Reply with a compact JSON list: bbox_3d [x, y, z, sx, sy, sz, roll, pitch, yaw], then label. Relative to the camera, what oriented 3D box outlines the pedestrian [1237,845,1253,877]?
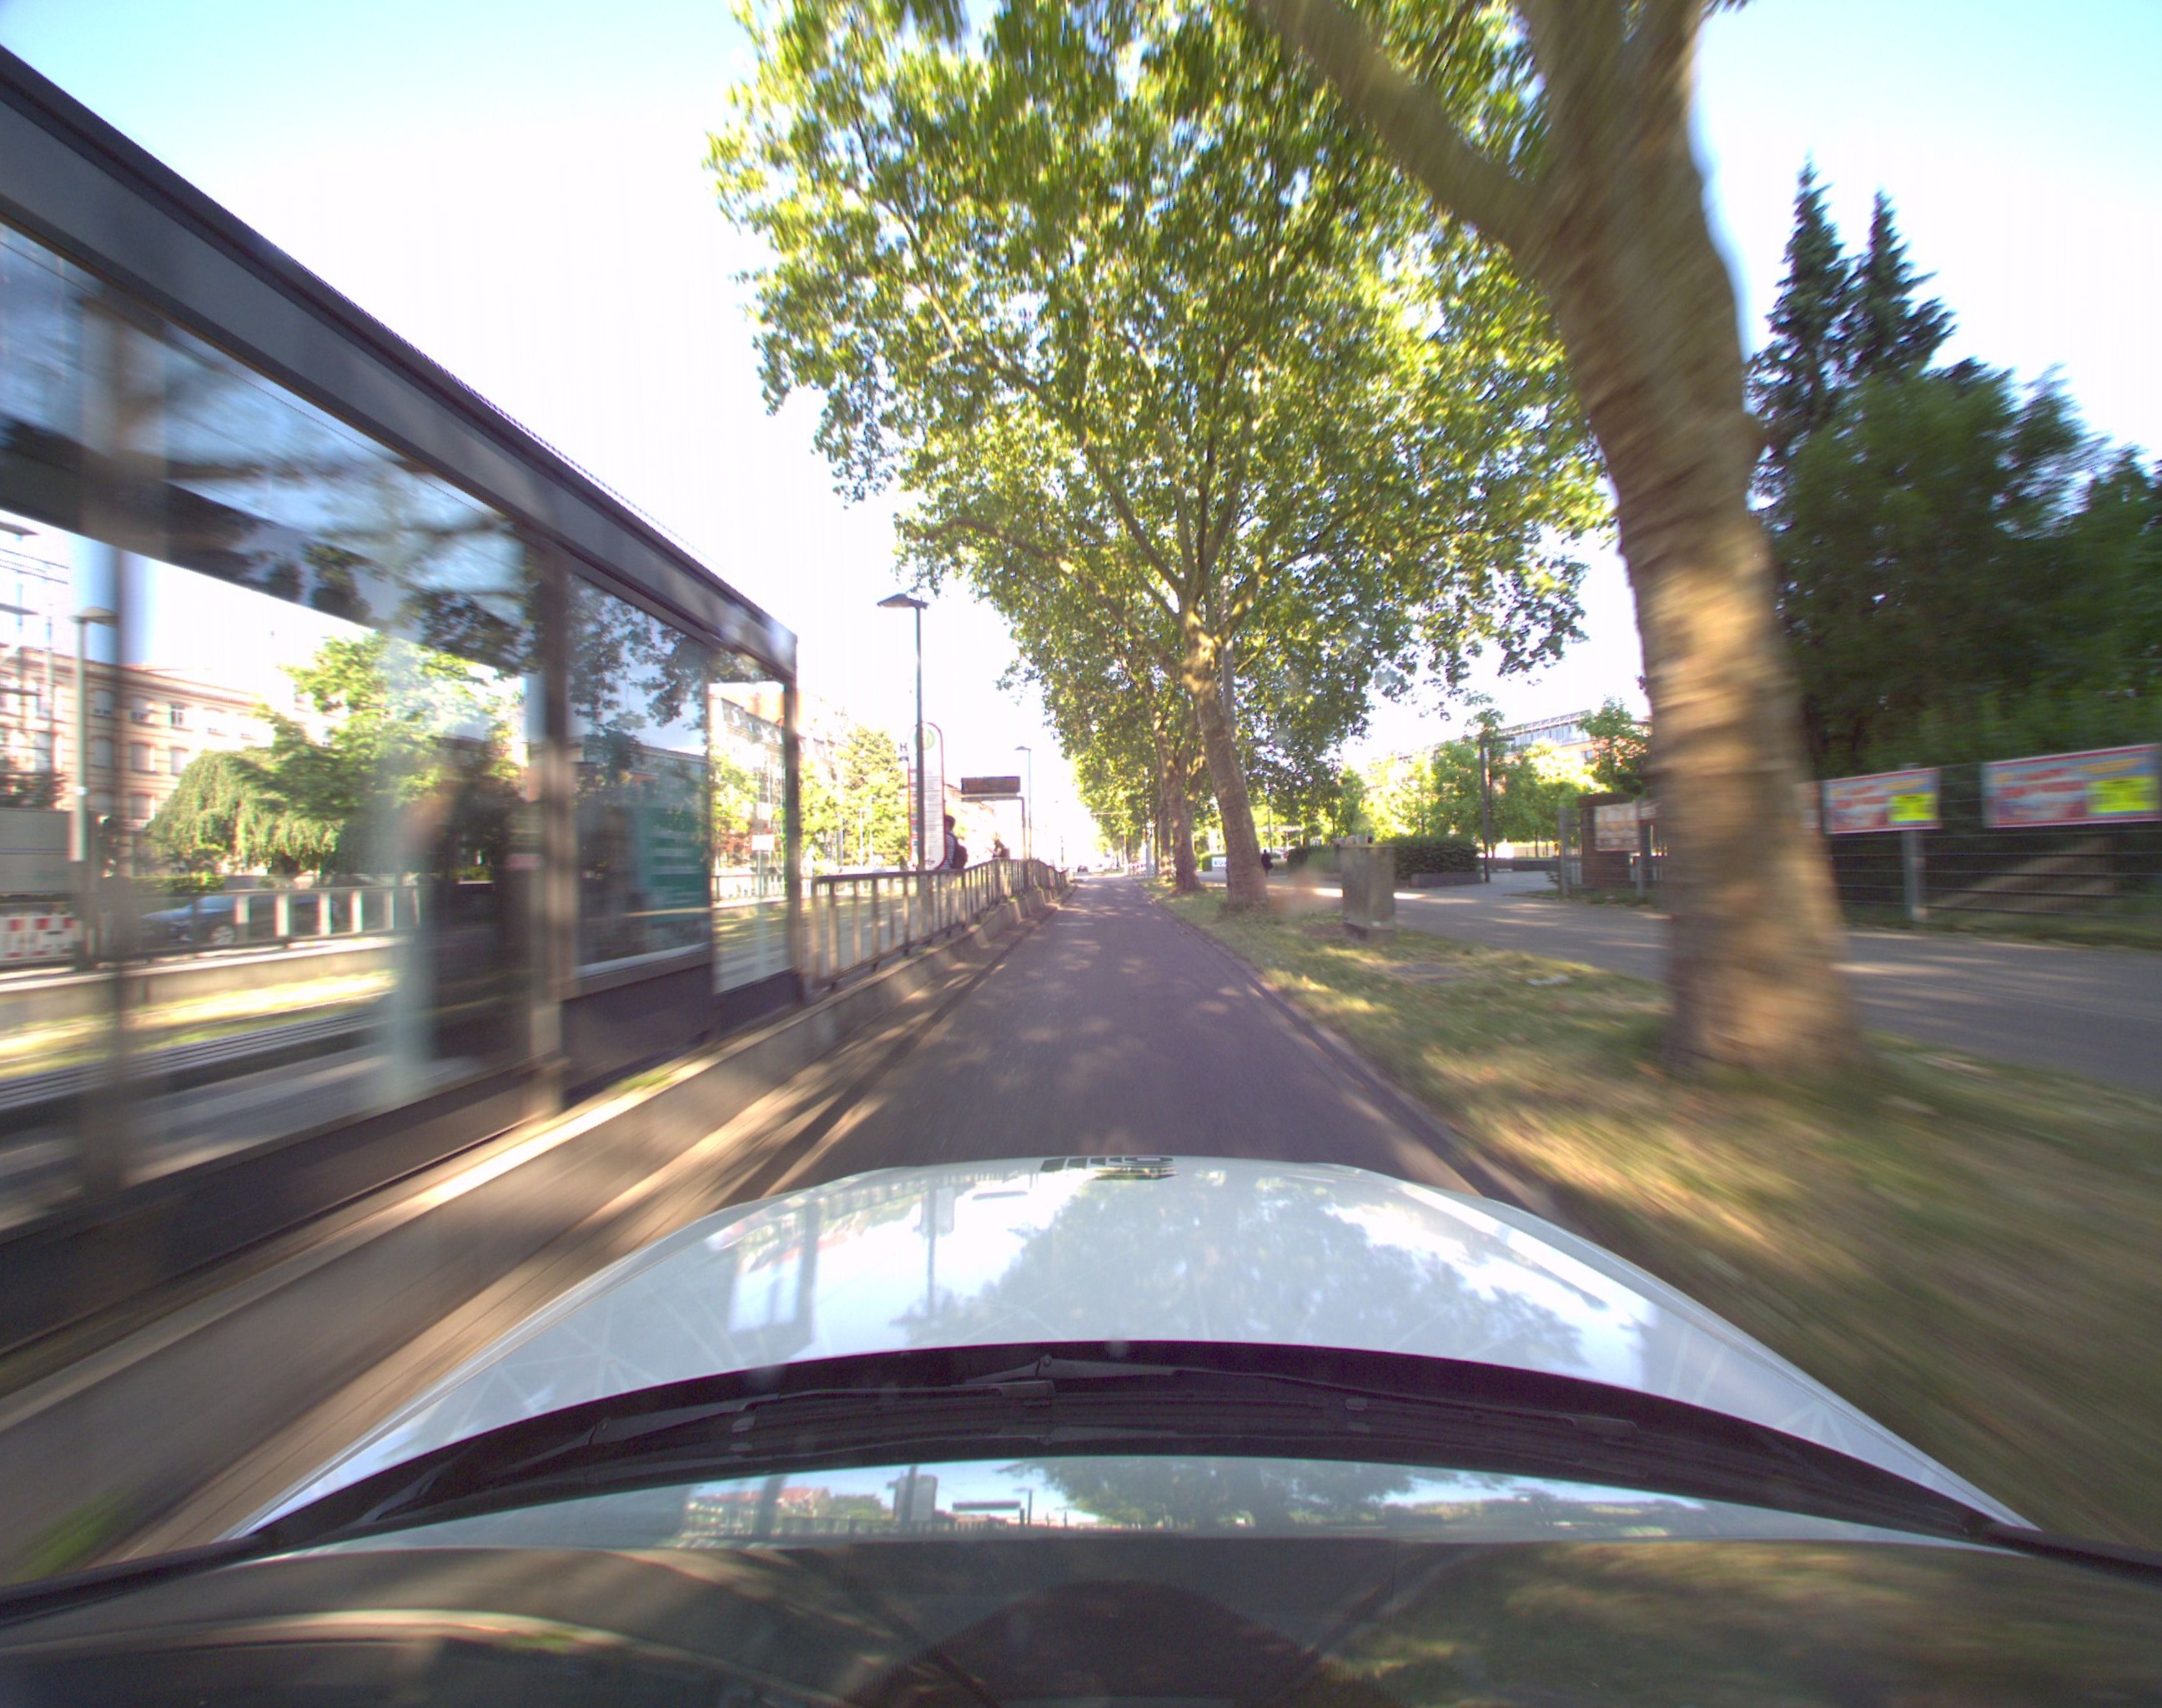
[{"bbox_3d":[8.566,0.370,42.558,0.625,1.656,0.740,-3,-1,1],"label":"pedestrian"}]

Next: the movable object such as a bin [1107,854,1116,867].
[{"bbox_3d":[7.511,1.689,202.241,1.961,3.013,4.797,-4,-1,1],"label":"movable object such as a bin"}]

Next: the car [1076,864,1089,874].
[{"bbox_3d":[0.289,2.519,139.228,1.986,1.684,4.001,0,-1,2],"label":"car"}]

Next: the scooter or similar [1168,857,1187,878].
[{"bbox_3d":[5.843,0.805,49.467,1.047,1.244,0.842,-3,-1,4],"label":"scooter or similar"}]

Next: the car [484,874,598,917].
[{"bbox_3d":[-22.270,1.669,33.795,1.713,1.586,4.071,0,-1,6],"label":"car"}]

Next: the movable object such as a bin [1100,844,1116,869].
[{"bbox_3d":[5.971,0.613,179.974,3.076,5.088,8.893,-4,-1,1],"label":"movable object such as a bin"}]

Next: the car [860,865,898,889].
[{"bbox_3d":[-16.359,1.846,66.193,1.856,1.806,4.031,0,-1,3],"label":"car"}]

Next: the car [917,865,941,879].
[{"bbox_3d":[-15.744,1.883,84.385,1.600,1.408,3.852,0,-1,2],"label":"car"}]

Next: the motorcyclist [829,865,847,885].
[{"bbox_3d":[-15.953,1.381,53.480,0.816,1.300,1.275,0,-1,-3],"label":"motorcyclist"}]

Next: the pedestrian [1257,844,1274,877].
[{"bbox_3d":[9.658,0.334,42.607,0.647,1.656,0.783,-3,-1,1],"label":"pedestrian"}]

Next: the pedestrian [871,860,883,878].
[{"bbox_3d":[-21.813,1.577,87.059,0.855,1.928,1.086,-3,-1,0],"label":"pedestrian"}]

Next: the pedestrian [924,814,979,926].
[{"bbox_3d":[-2.020,0.250,12.821,0.676,1.690,0.895,0,-1,2],"label":"pedestrian"}]

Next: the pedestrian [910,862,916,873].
[{"bbox_3d":[-23.777,1.942,115.321,0.648,1.539,0.783,-3,-1,0],"label":"pedestrian"}]

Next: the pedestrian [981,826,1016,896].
[{"bbox_3d":[-2.032,0.183,20.050,0.754,1.690,0.679,0,-1,1],"label":"pedestrian"}]

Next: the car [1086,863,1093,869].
[{"bbox_3d":[2.650,3.755,261.377,1.990,1.860,3.993,0,-1,-5],"label":"car"}]

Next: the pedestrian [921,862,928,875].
[{"bbox_3d":[-22.160,2.062,115.395,0.648,1.775,0.888,-3,-1,0],"label":"pedestrian"}]

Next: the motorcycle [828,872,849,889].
[{"bbox_3d":[-15.961,1.720,53.648,0.816,1.073,2.399,0,-1,-3],"label":"motorcycle"}]

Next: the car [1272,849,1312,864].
[{"bbox_3d":[26.995,0.282,104.206,4.686,1.713,1.836,-3,0,-19],"label":"car"}]
